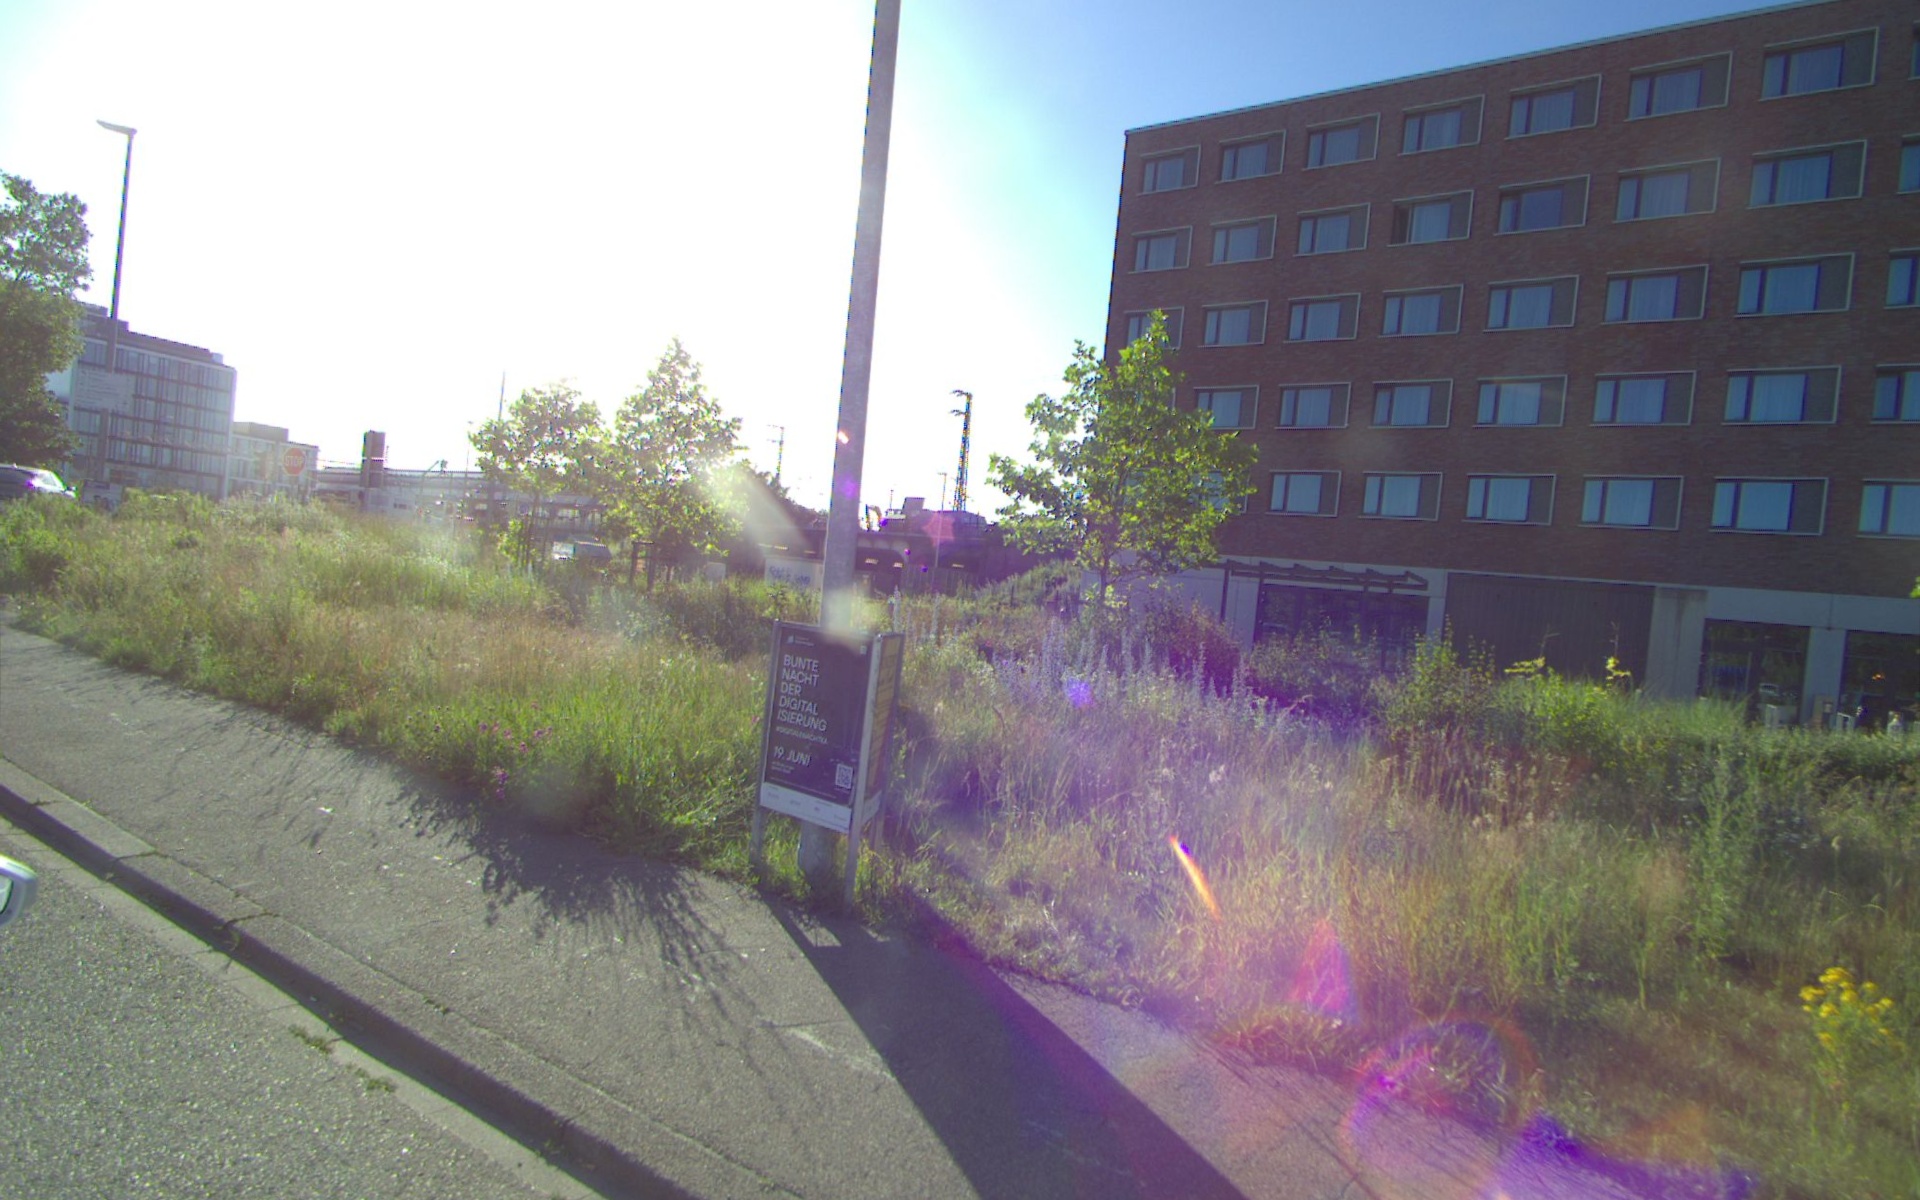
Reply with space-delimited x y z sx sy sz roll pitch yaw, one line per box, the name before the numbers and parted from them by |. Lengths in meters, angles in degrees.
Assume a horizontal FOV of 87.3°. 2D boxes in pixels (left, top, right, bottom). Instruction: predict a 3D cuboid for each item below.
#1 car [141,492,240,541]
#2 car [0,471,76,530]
car | -32.529 -3.501 42.662 1.876 1.615 3.986 7 0 -17
car | -28.244 -3.000 30.104 1.901 1.548 4.368 7 0 -33
